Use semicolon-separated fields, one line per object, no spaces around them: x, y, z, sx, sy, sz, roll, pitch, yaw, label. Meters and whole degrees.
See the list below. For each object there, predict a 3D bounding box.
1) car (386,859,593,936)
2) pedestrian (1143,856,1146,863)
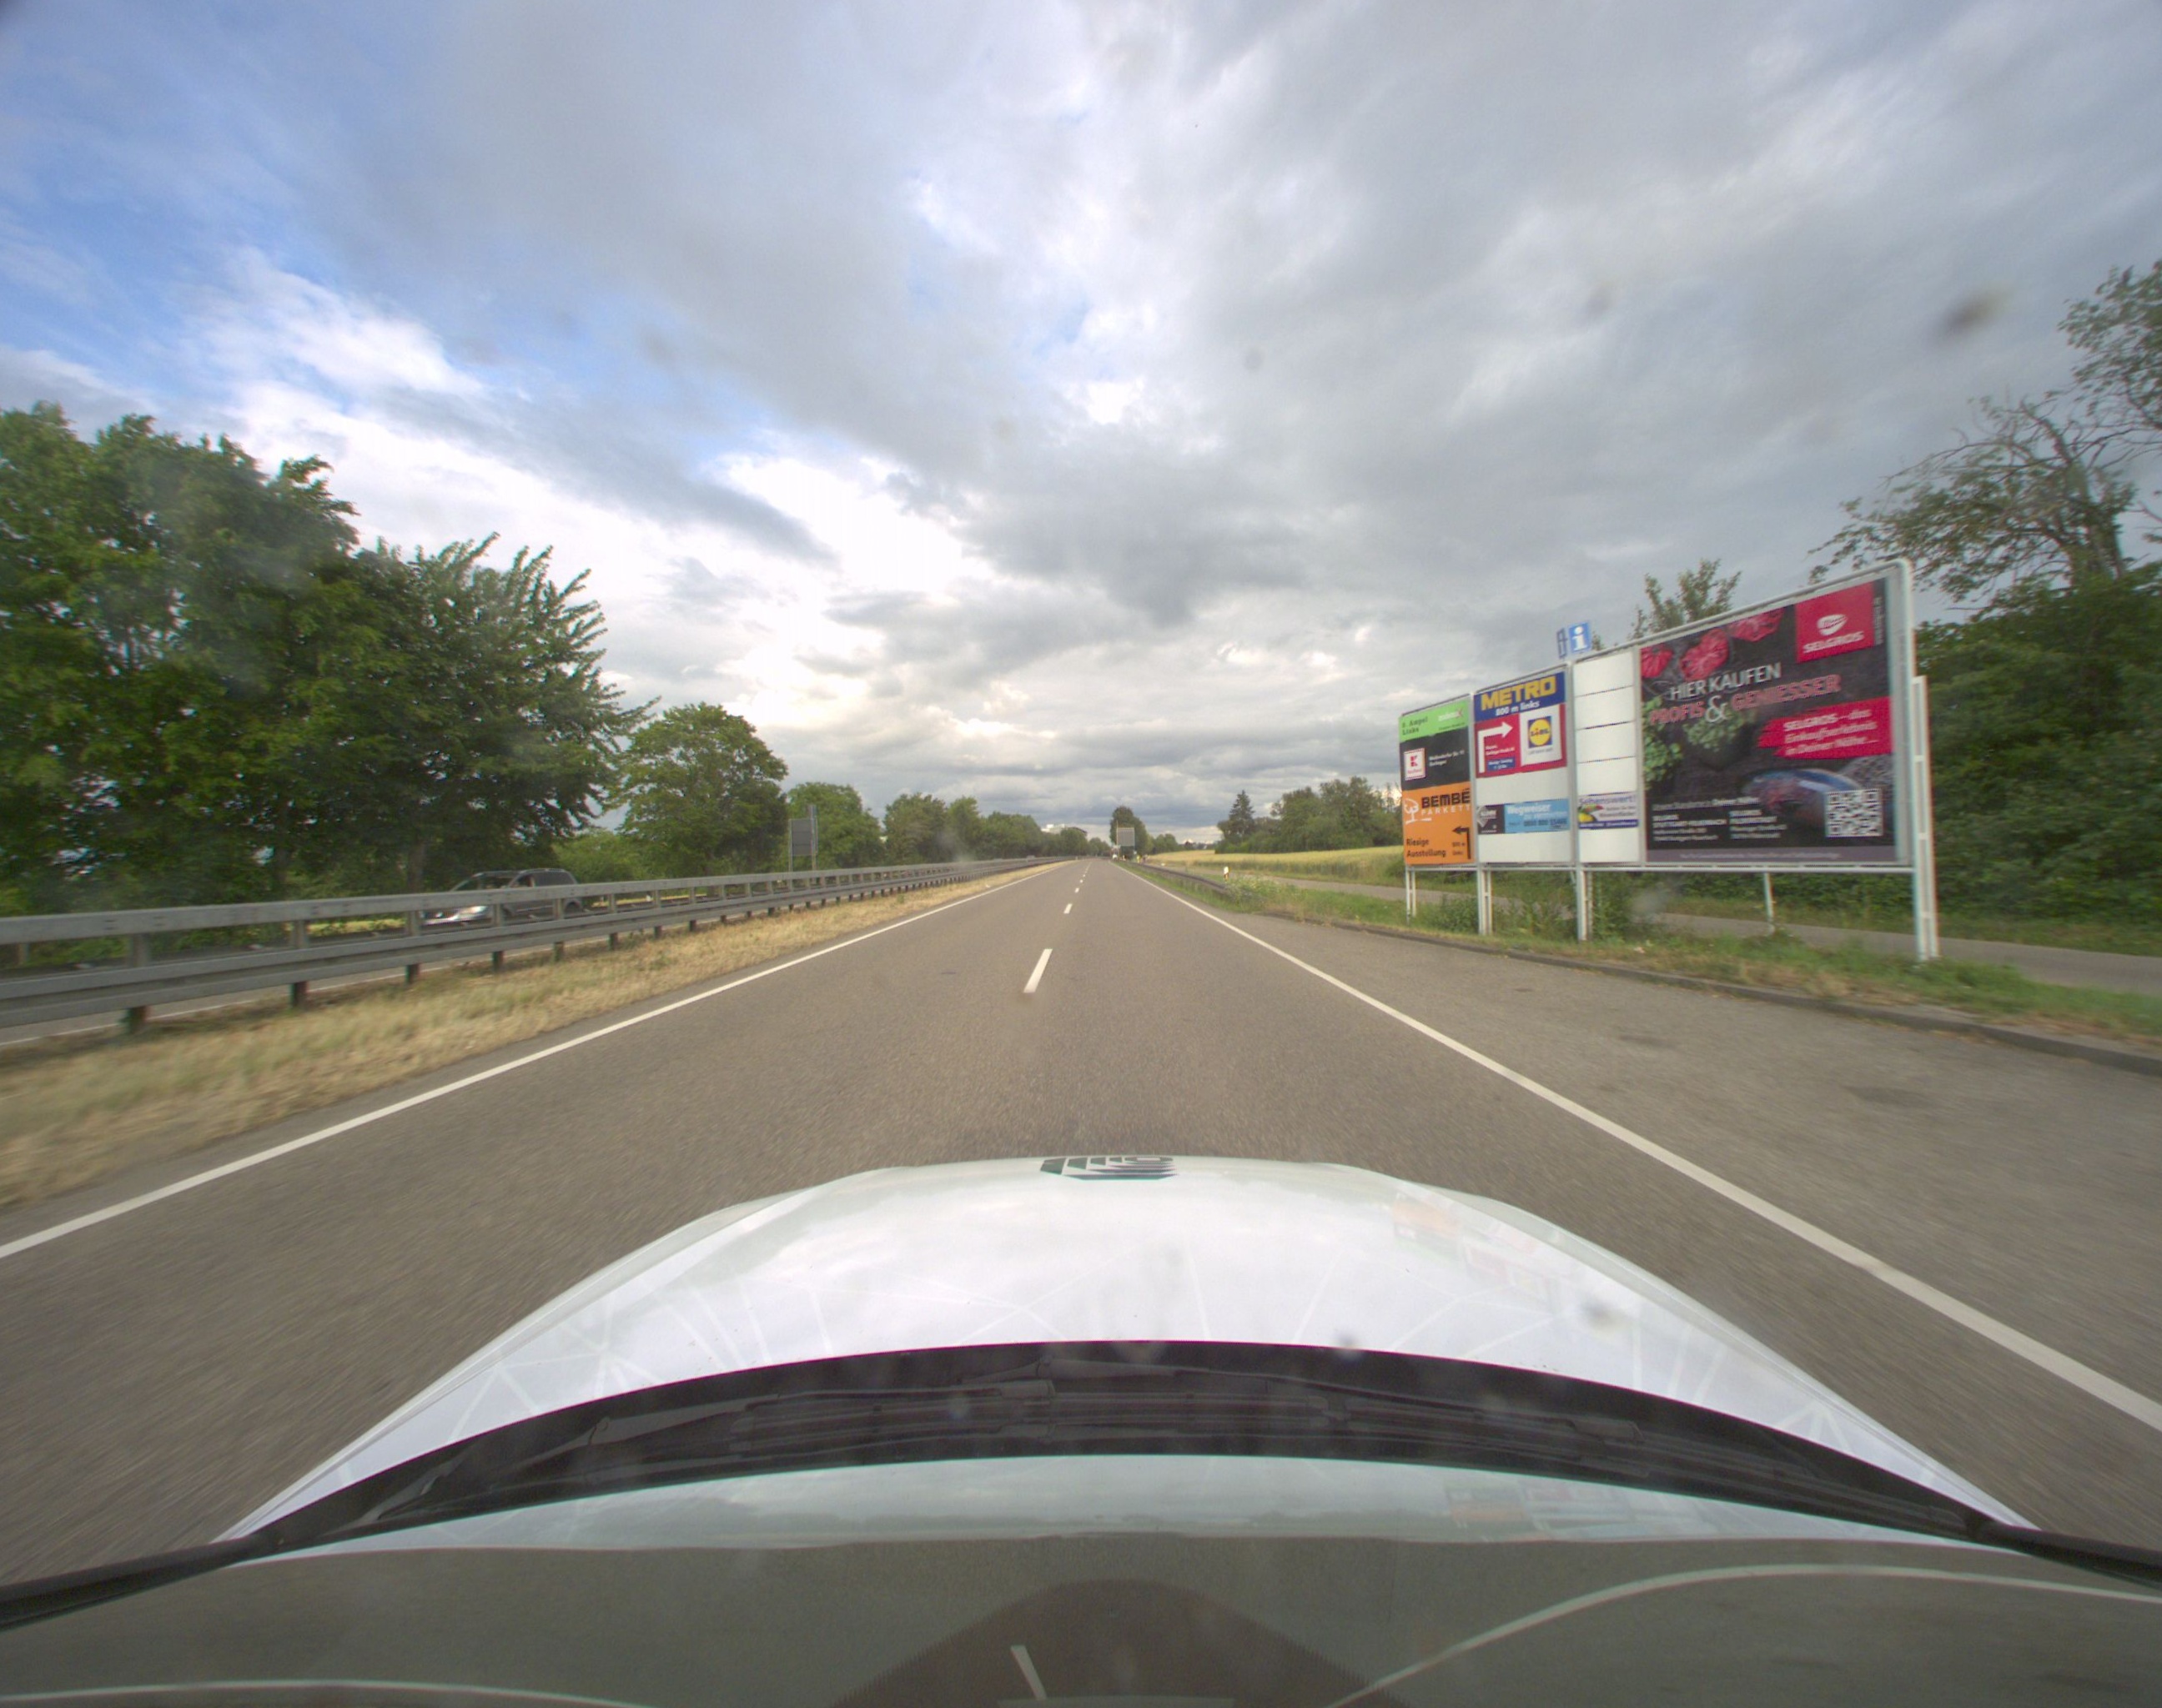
-14.777;0.996;20.729;1.790;1.625;4.486;-3;0;2;car
14.492;1.200;185.101;0.600;1.666;0.542;0;-1;-1;pedestrian
